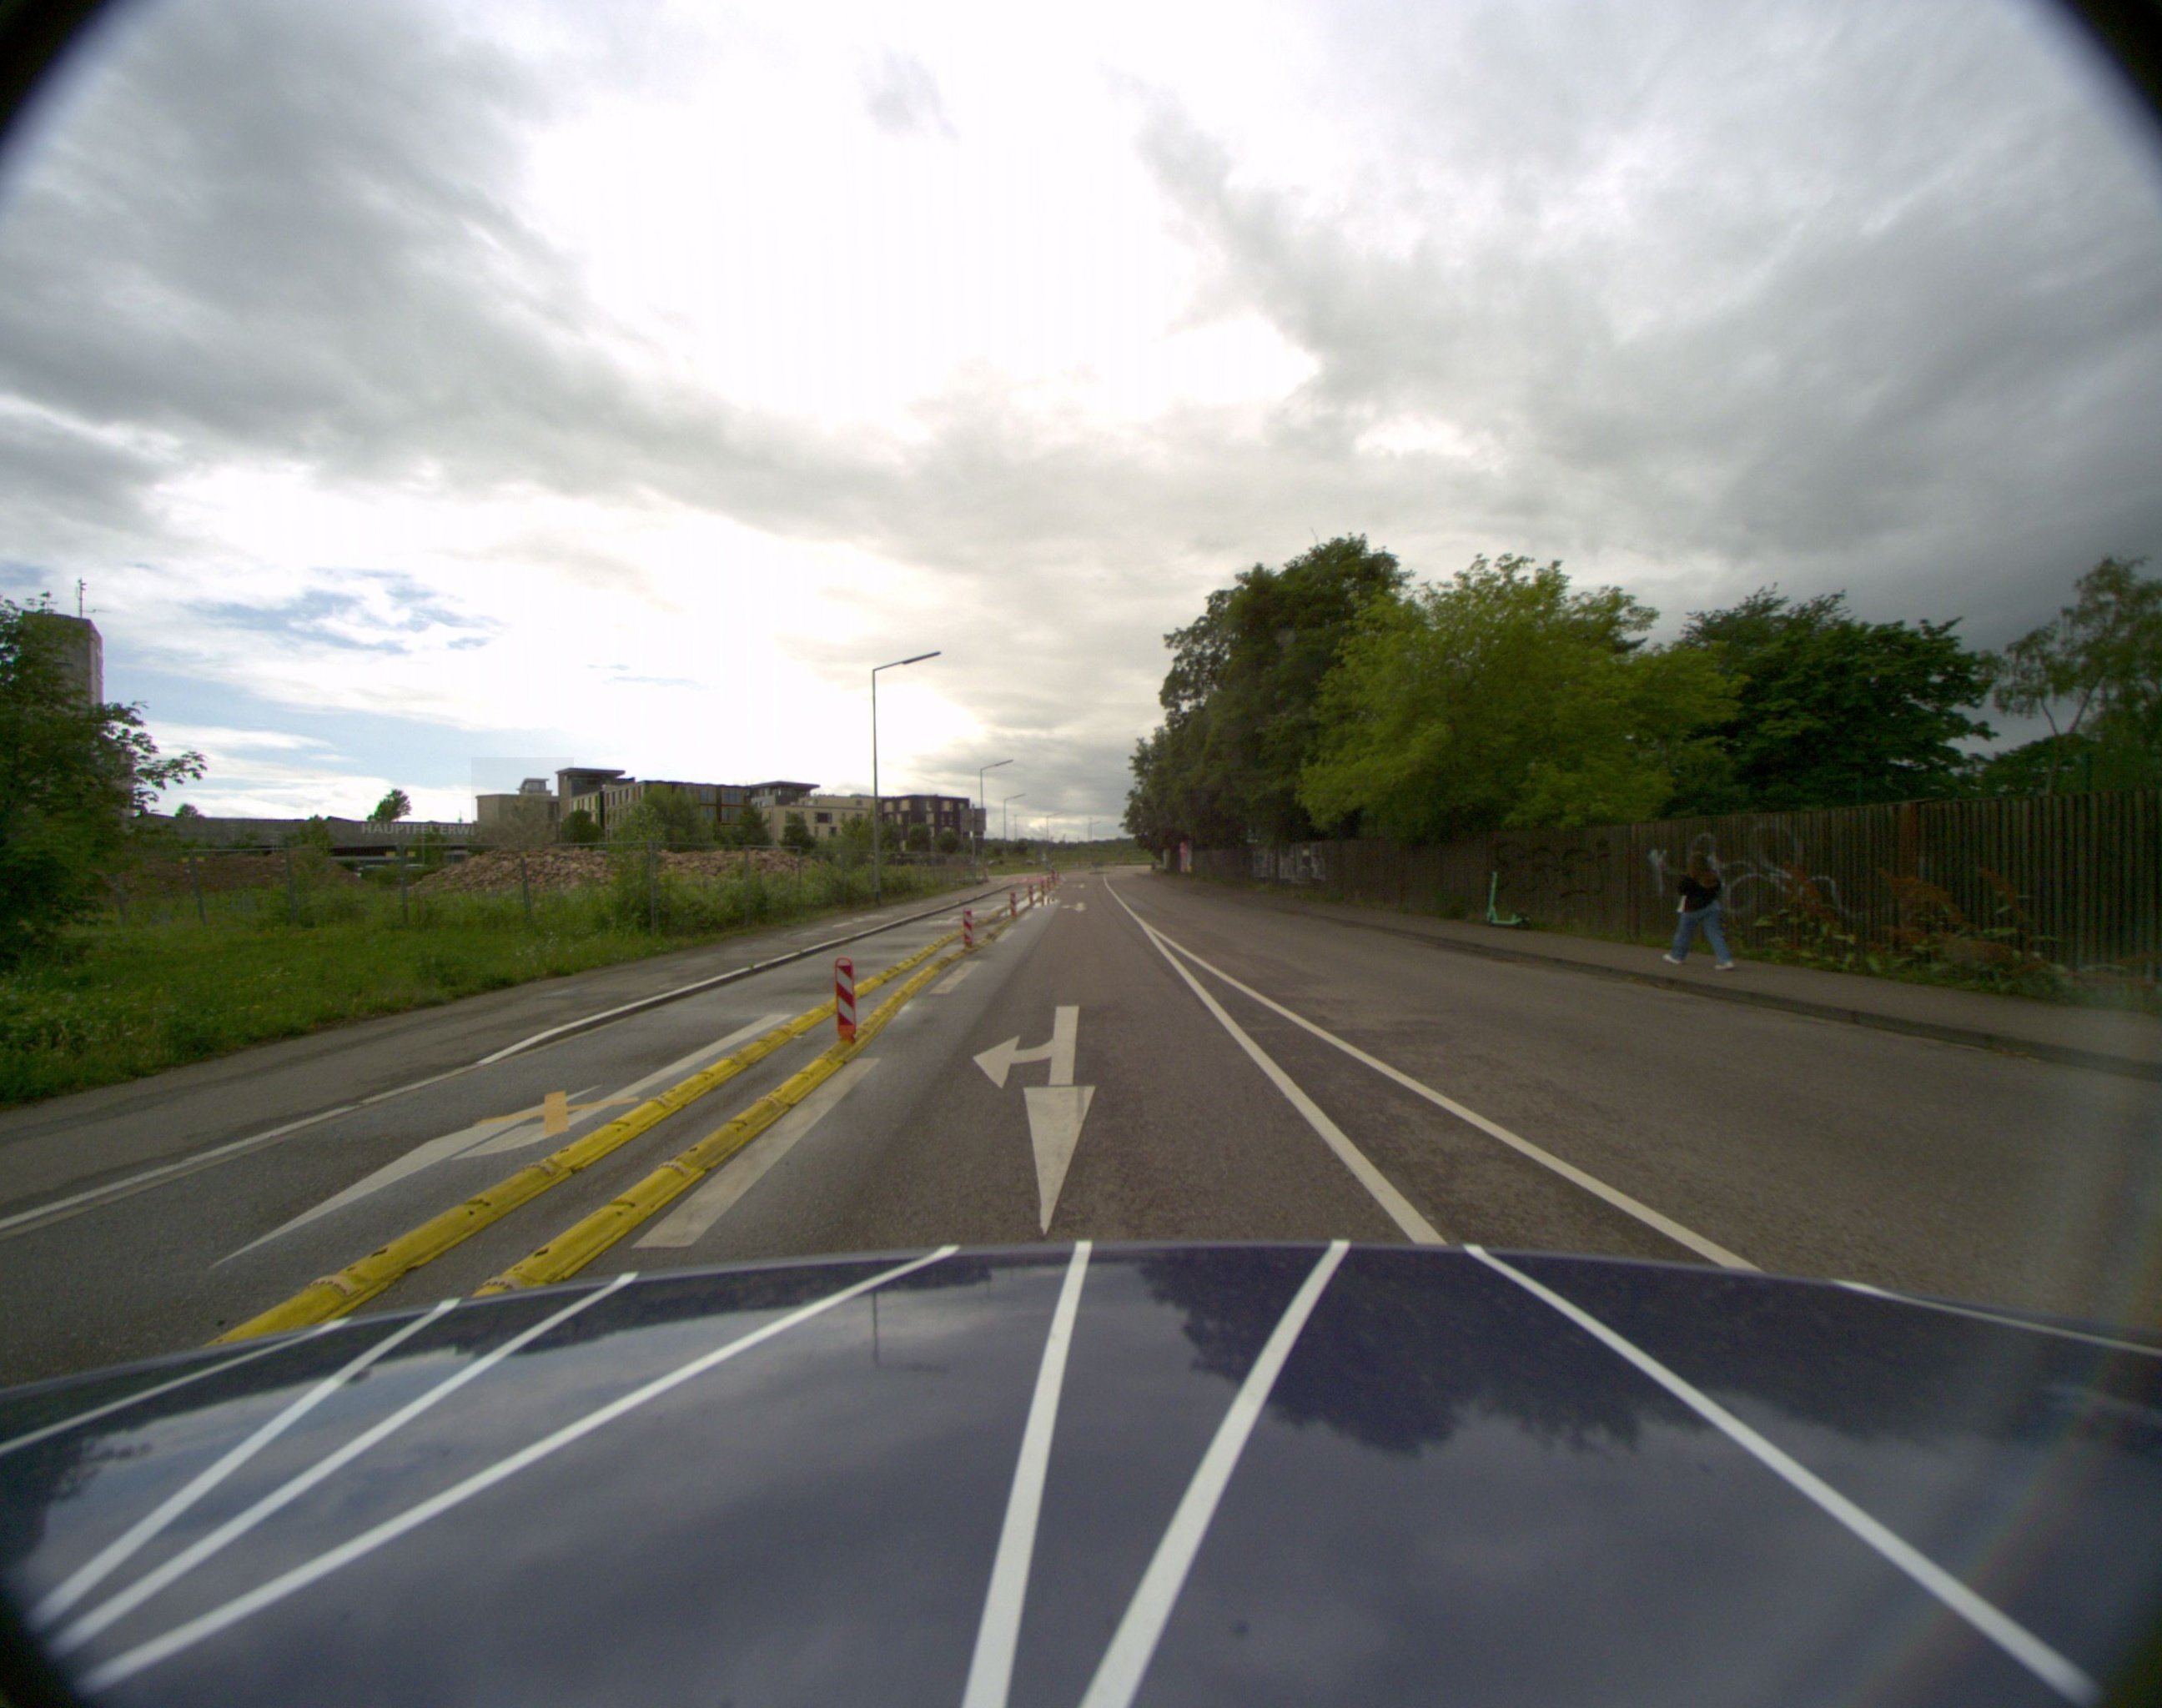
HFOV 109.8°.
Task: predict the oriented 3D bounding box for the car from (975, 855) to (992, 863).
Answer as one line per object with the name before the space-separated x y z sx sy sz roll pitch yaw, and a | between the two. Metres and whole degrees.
car | -24.975 1.370 194.546 1.994 2.002 4.009 0 0 42

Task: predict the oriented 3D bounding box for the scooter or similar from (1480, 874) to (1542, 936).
scooter or similar | 8.609 0.995 15.257 0.424 1.164 1.303 -1 0 -5

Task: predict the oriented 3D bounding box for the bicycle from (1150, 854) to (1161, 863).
bicycle | 9.131 0.528 93.056 0.582 0.992 1.773 -3 0 28

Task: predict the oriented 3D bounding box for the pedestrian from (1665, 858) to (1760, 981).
pedestrian | 8.196 0.821 9.880 0.614 1.520 0.724 -1 0 -4
